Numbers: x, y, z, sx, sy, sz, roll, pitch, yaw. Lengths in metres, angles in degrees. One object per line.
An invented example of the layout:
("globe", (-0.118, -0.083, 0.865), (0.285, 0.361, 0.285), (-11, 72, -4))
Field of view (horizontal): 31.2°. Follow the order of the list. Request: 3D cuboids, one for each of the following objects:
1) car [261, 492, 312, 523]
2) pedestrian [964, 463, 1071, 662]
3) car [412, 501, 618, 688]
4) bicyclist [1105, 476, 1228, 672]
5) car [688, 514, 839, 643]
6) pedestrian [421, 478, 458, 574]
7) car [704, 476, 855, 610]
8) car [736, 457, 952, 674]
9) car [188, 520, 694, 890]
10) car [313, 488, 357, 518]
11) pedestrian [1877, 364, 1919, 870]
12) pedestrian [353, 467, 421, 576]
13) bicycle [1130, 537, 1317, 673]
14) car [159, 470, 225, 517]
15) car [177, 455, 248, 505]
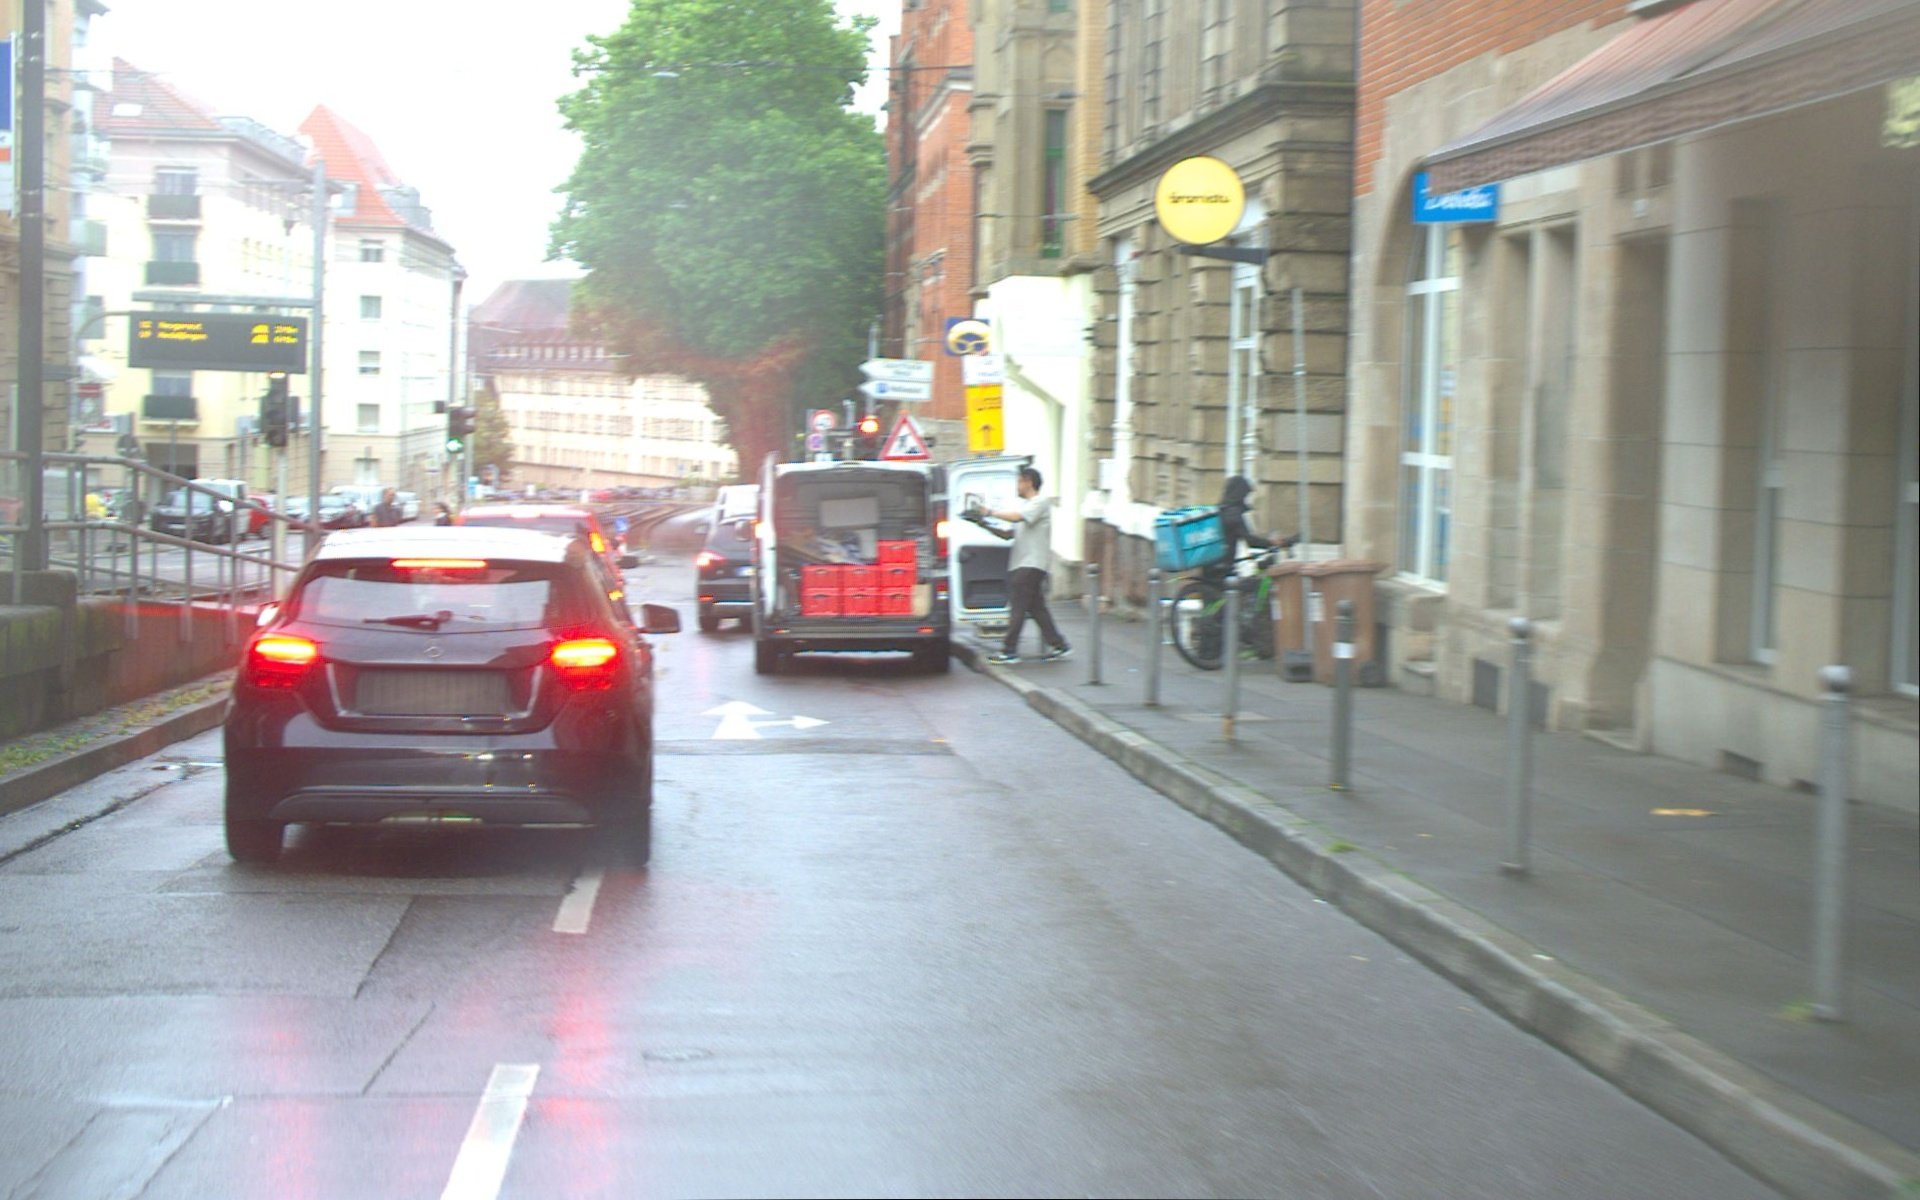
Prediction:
("car", (-25.130, -3.455, 128.349), (1.437, 1.102, 3.162), (1, 2, -4))
("pedestrian", (0.505, -0.345, 30.539), (0.833, 1.747, 0.687), (0, 2, -9))
("car", (-3.868, -0.093, 30.264), (1.679, 1.484, 3.614), (0, 2, -6))
("bicyclist", (1.777, -0.235, 29.543), (0.847, 1.651, 0.631), (-1, 2, -32))
("car", (-2.445, -0.315, 43.559), (1.713, 1.464, 4.281), (1, 2, -1))
("pedestrian", (-8.298, -1.181, 54.785), (0.531, 1.525, 0.437), (1, 2, -12))
("car", (-2.711, -0.881, 50.879), (1.932, 1.825, 4.282), (1, 2, -7))
("car", (-1.169, -0.398, 33.561), (1.920, 1.929, 4.686), (1, 2, -3))
("car", (-2.227, 0.378, 15.728), (1.894, 1.385, 4.001), (1, 2, -3))
("car", (-25.822, -4.016, 142.026), (1.395, 1.167, 3.162), (1, 2, -4))
("pedestrian", (3.725, 0.055, 12.411), (0.577, 1.824, 0.564), (-2, 1, -6))
("pedestrian", (-9.157, -1.262, 54.937), (0.740, 1.718, 0.739), (3, 3, 43))
("bicycle", (2.255, 0.032, 29.295), (1.684, 1.111, 0.465), (-1, 2, -35))
("car", (-22.982, -3.198, 102.900), (1.451, 1.314, 3.296), (2, 2, -5))
("car", (-23.757, -3.825, 109.332), (1.786, 1.524, 4.464), (1, 2, -7))
